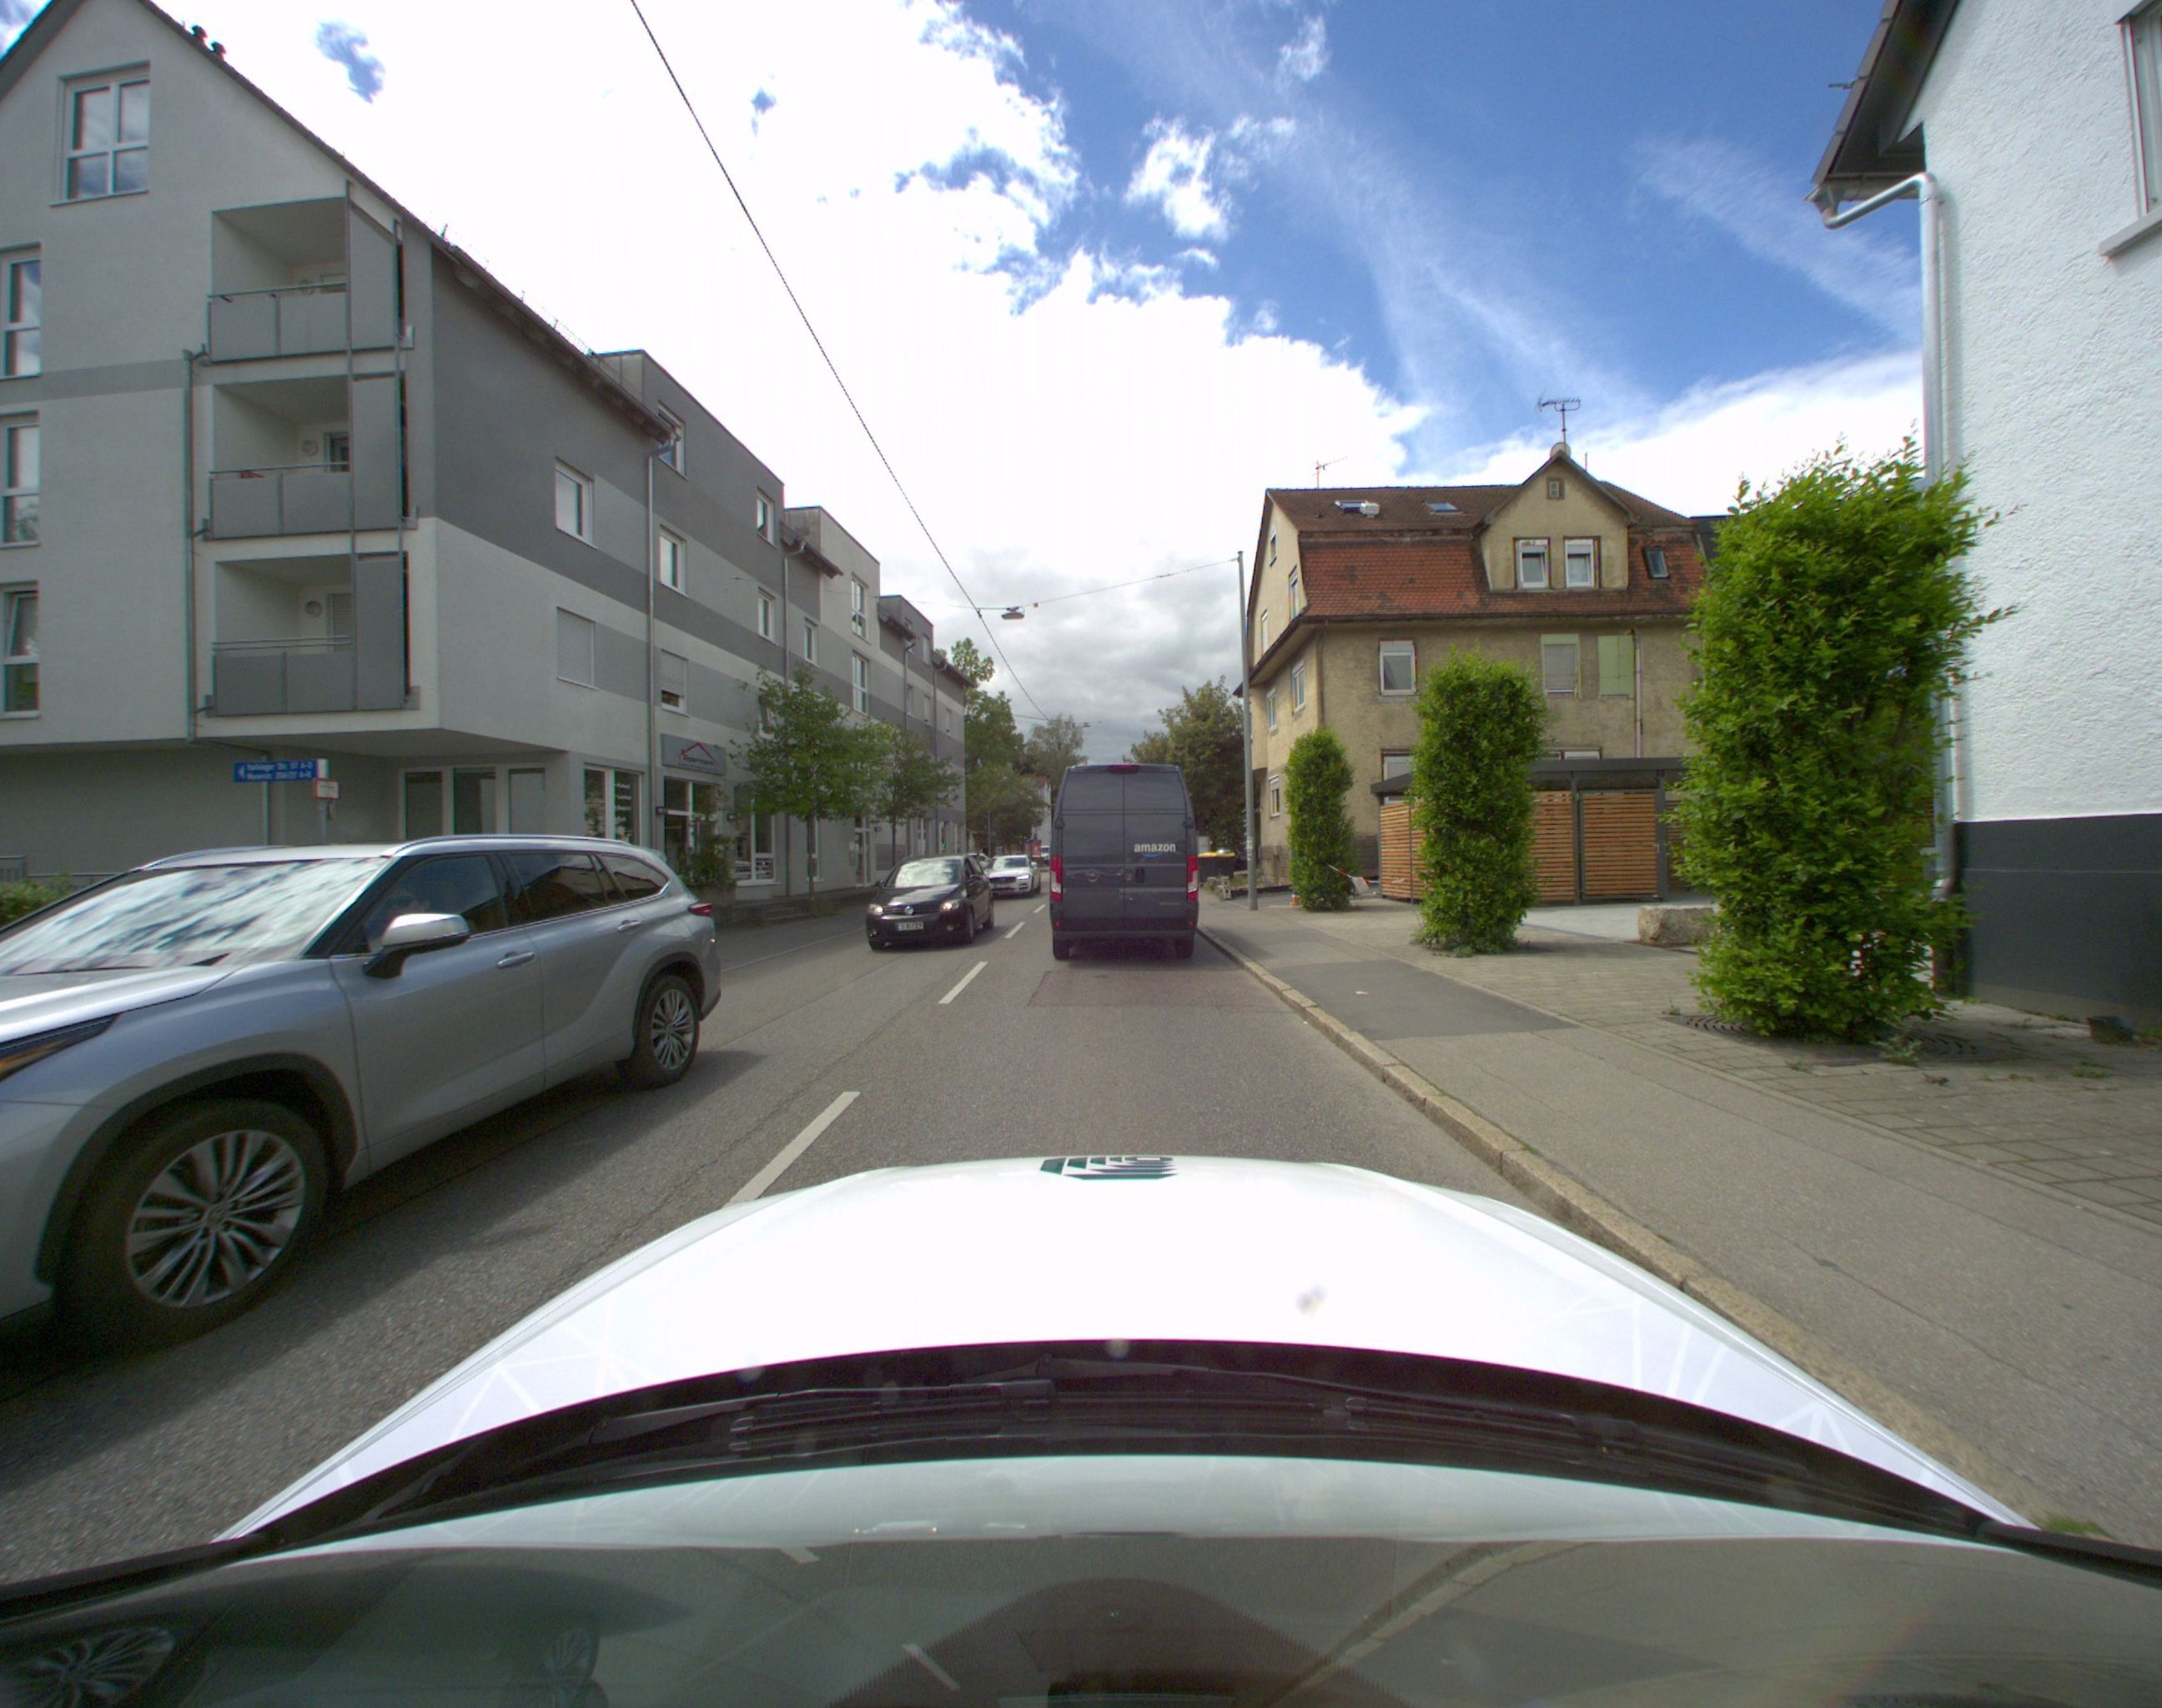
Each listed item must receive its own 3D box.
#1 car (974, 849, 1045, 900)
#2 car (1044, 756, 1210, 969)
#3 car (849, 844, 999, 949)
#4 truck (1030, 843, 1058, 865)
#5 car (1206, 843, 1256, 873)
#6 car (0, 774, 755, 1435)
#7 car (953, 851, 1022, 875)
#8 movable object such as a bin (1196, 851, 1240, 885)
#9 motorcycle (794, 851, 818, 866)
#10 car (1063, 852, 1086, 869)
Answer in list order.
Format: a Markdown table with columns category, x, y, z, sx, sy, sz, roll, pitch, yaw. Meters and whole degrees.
| category | x | y | z | sx | sy | sz | roll | pitch | yaw |
| --- | --- | --- | --- | --- | --- | --- | --- | --- | --- |
| car | -2.485 | 0.670 | 29.419 | 1.890 | 1.559 | 4.802 | -4 | 0 | 2 |
| car | 0.620 | 0.097 | 13.827 | 2.141 | 2.770 | 6.248 | -1 | 0 | 0 |
| car | -2.711 | 0.665 | 14.991 | 1.825 | 1.584 | 4.038 | -3 | 0 | 1 |
| truck | -4.202 | 0.027 | 93.912 | 2.213 | 2.380 | 6.337 | -1 | 0 | 6 |
| car | 9.164 | 0.204 | 49.550 | 1.735 | 1.517 | 4.104 | -5 | 0 | 28 |
| car | -3.786 | 0.716 | 4.255 | 1.979 | 1.737 | 4.798 | -4 | 0 | 2 |
| car | -6.038 | 0.567 | 52.790 | 4.194 | 1.513 | 1.824 | 0 | 1 | 3 |
| movable object such as a bin | 5.272 | 0.519 | 31.450 | 1.189 | 1.266 | 1.198 | -1 | 0 | -28 |
| motorcycle | -18.876 | 0.276 | 56.006 | 1.201 | 1.004 | 2.332 | 0 | 0 | -9 |
| car | -0.567 | 0.576 | 74.893 | 1.866 | 1.424 | 4.119 | 0 | 0 | 3 |
